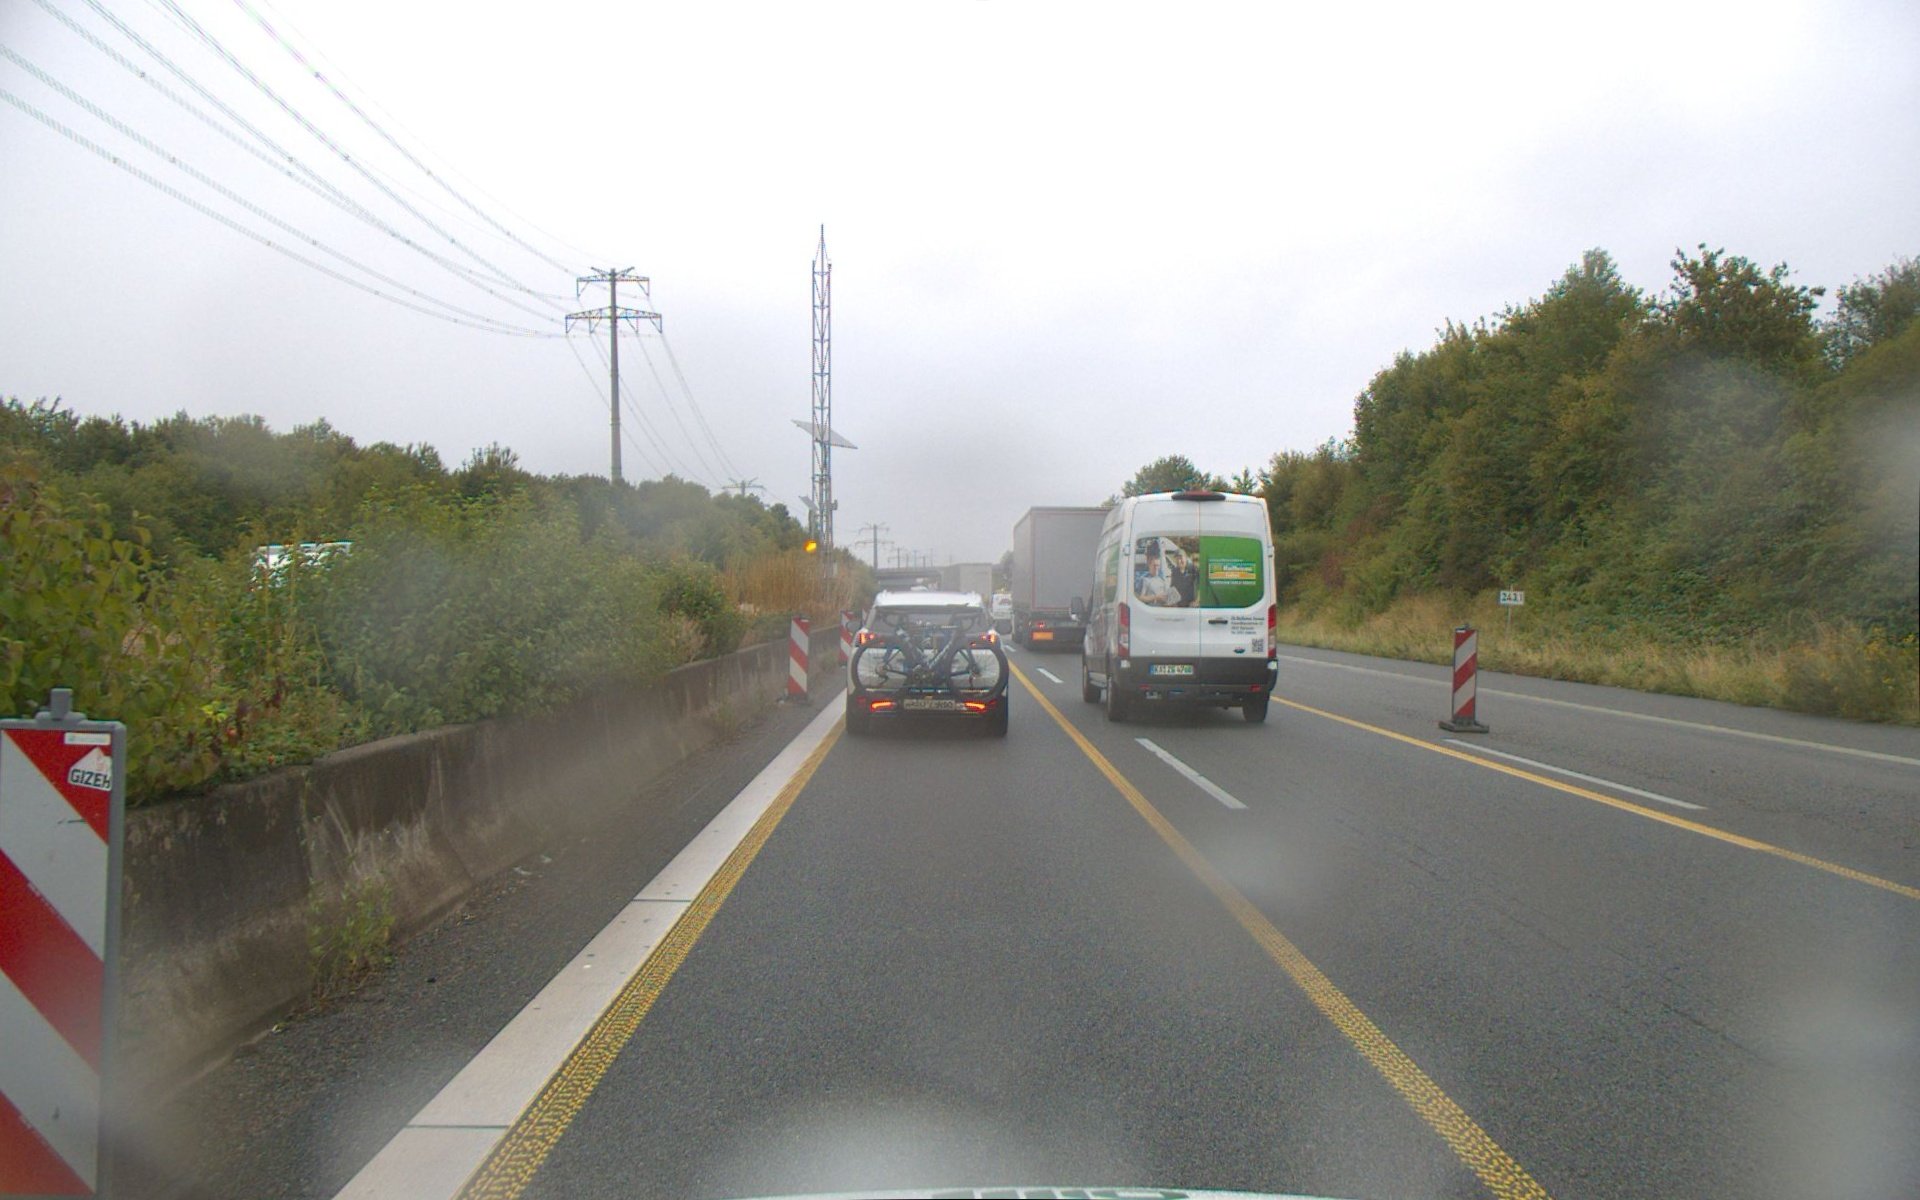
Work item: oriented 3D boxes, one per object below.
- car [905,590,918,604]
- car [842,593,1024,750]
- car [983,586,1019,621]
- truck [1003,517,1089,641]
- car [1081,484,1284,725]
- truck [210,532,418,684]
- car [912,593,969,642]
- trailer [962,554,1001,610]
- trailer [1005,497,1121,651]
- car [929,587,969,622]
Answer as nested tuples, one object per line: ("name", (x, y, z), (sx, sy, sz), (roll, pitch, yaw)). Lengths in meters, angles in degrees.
("car", (-7.402, -0.473, 253.329), (1.892, 2.008, 4.000), (0, 1, -1))
("car", (-0.306, 0.708, 18.906), (1.812, 1.557, 4.767), (0, 0, -1))
("car", (2.284, 0.183, 92.791), (1.792, 1.871, 4.654), (0, 0, -1))
("truck", (3.004, -0.728, 59.161), (2.651, 4.211, 5.689), (0, 0, -1))
("car", (2.833, 0.041, 22.350), (1.953, 2.831, 5.756), (0, 0, 0))
("truck", (-15.606, 0.186, 40.515), (2.215, 3.284, 7.051), (-3, 0, -1))
("car", (-0.666, 0.553, 54.637), (1.812, 1.557, 3.999), (0, 0, -1))
("trailer", (1.584, -1.379, 129.570), (2.638, 4.148, 13.630), (0, 0, -1))
("trailer", (3.033, -0.727, 52.433), (2.651, 4.218, 13.730), (0, 0, -1))
("car", (-0.527, 0.204, 77.786), (1.812, 1.557, 3.999), (0, 0, -1))
